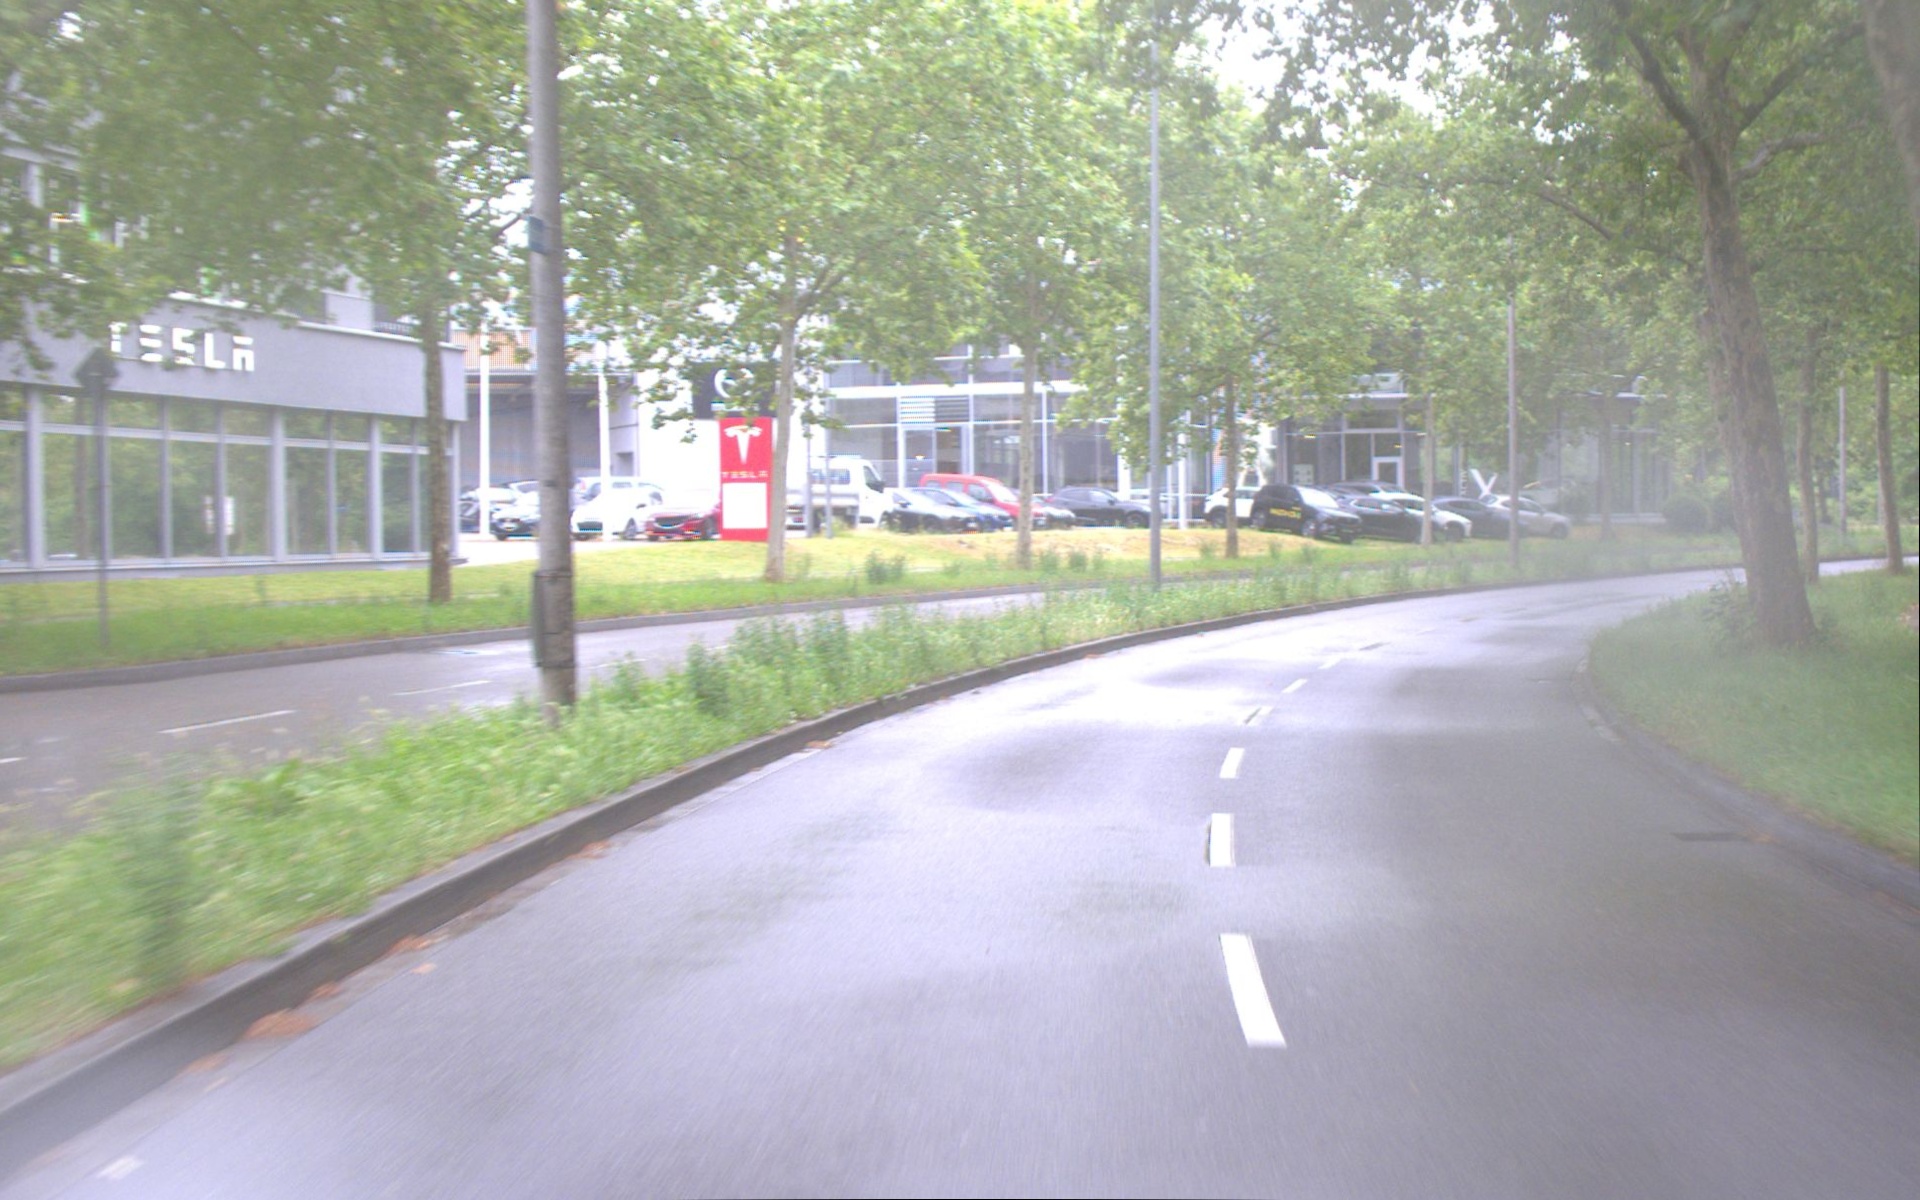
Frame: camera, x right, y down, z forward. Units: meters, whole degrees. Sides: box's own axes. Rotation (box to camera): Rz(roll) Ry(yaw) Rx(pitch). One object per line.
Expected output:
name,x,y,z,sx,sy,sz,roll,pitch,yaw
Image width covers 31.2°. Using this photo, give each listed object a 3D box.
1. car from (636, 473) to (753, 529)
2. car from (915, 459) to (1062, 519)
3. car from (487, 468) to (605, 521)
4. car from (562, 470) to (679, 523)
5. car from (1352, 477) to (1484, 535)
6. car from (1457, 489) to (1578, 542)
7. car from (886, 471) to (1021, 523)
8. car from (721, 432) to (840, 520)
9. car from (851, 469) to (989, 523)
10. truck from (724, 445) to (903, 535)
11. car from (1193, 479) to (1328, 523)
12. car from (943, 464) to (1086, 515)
car,-7.463,-2.806,96.931,1.764,1.462,4.153,2,3,19
car,0.853,-3.388,104.491,4.001,1.551,1.845,5,4,25
car,-11.950,-3.071,99.463,1.764,1.392,4.153,2,3,19
car,-9.726,-2.989,98.676,1.764,1.392,4.153,2,3,19
car,16.377,-3.366,122.952,4.115,1.473,1.849,6,6,-14
car,21.046,-3.178,129.822,3.985,1.470,1.786,5,6,-19
car,-0.199,-3.063,101.989,3.528,1.322,1.766,5,4,25
car,-6.029,-4.154,114.527,2.163,2.742,5.341,1,2,-23
car,-1.167,-3.036,99.911,3.528,1.322,1.766,5,4,25
truck,-4.042,-3.112,96.166,2.250,2.336,6.186,5,4,26
car,10.722,-3.525,122.732,4.427,1.468,1.918,2,2,23
car,1.706,-3.458,107.199,4.001,1.352,1.845,5,4,25
